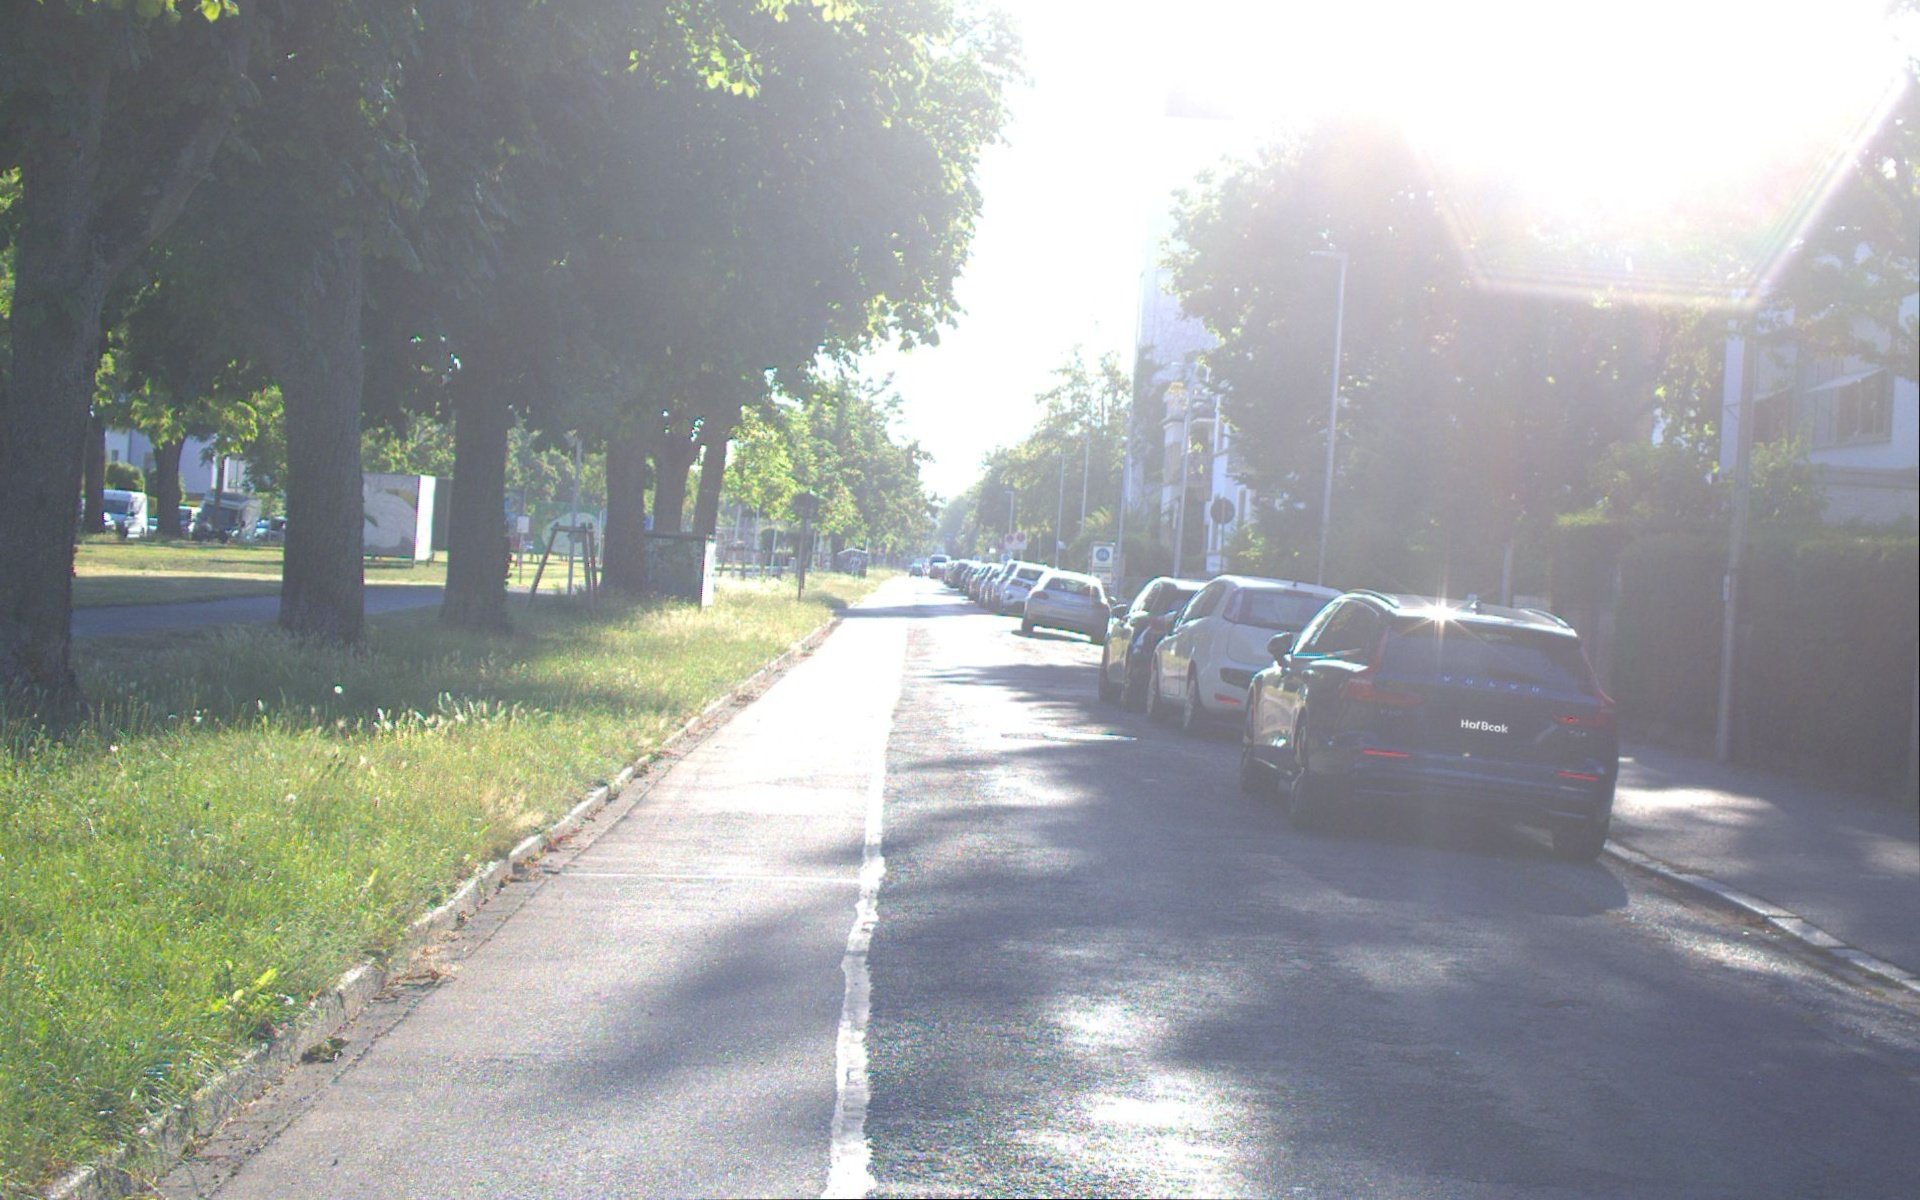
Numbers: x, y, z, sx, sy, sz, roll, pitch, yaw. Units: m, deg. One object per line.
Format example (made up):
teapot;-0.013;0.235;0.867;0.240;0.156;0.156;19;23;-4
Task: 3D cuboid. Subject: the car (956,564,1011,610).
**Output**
car;0.874;-0.499;128.167;1.761;1.516;4.000;5;1;-2

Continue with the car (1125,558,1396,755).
car;2.715;0.470;31.932;1.691;1.478;3.930;8;1;-5

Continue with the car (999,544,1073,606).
car;2.134;-0.733;97.657;1.758;1.599;4.359;4;1;-2

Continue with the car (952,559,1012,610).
car;0.736;-0.549;117.537;1.758;1.599;4.359;4;1;-2

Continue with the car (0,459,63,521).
car;-35.785;-4.167;129.381;2.534;2.228;5.459;3;1;0

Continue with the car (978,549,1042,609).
car;1.482;-0.653;103.414;1.685;1.645;4.100;4;1;-1

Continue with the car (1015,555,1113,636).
car;2.219;-0.125;74.165;1.757;1.415;4.072;10;1;0

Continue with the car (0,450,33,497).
car;-43.254;-5.654;154.340;1.993;2.006;4.485;-2;2;-1

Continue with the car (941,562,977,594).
car;-0.048;-1.282;199.343;1.980;1.677;4.000;4;1;0

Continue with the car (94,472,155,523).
car;-42.051;-5.125;173.140;1.993;2.401;4.363;2;0;0

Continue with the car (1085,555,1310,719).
car;2.484;0.352;36.941;1.749;1.472;4.289;6;1;-3

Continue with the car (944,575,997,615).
car;0.435;-0.213;138.744;1.993;1.459;4.000;4;1;0

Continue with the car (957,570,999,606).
car;0.904;-0.619;171.270;1.993;1.624;4.000;4;1;0

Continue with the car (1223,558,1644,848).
car;2.836;0.561;21.610;1.793;1.487;4.675;5;0;-1
